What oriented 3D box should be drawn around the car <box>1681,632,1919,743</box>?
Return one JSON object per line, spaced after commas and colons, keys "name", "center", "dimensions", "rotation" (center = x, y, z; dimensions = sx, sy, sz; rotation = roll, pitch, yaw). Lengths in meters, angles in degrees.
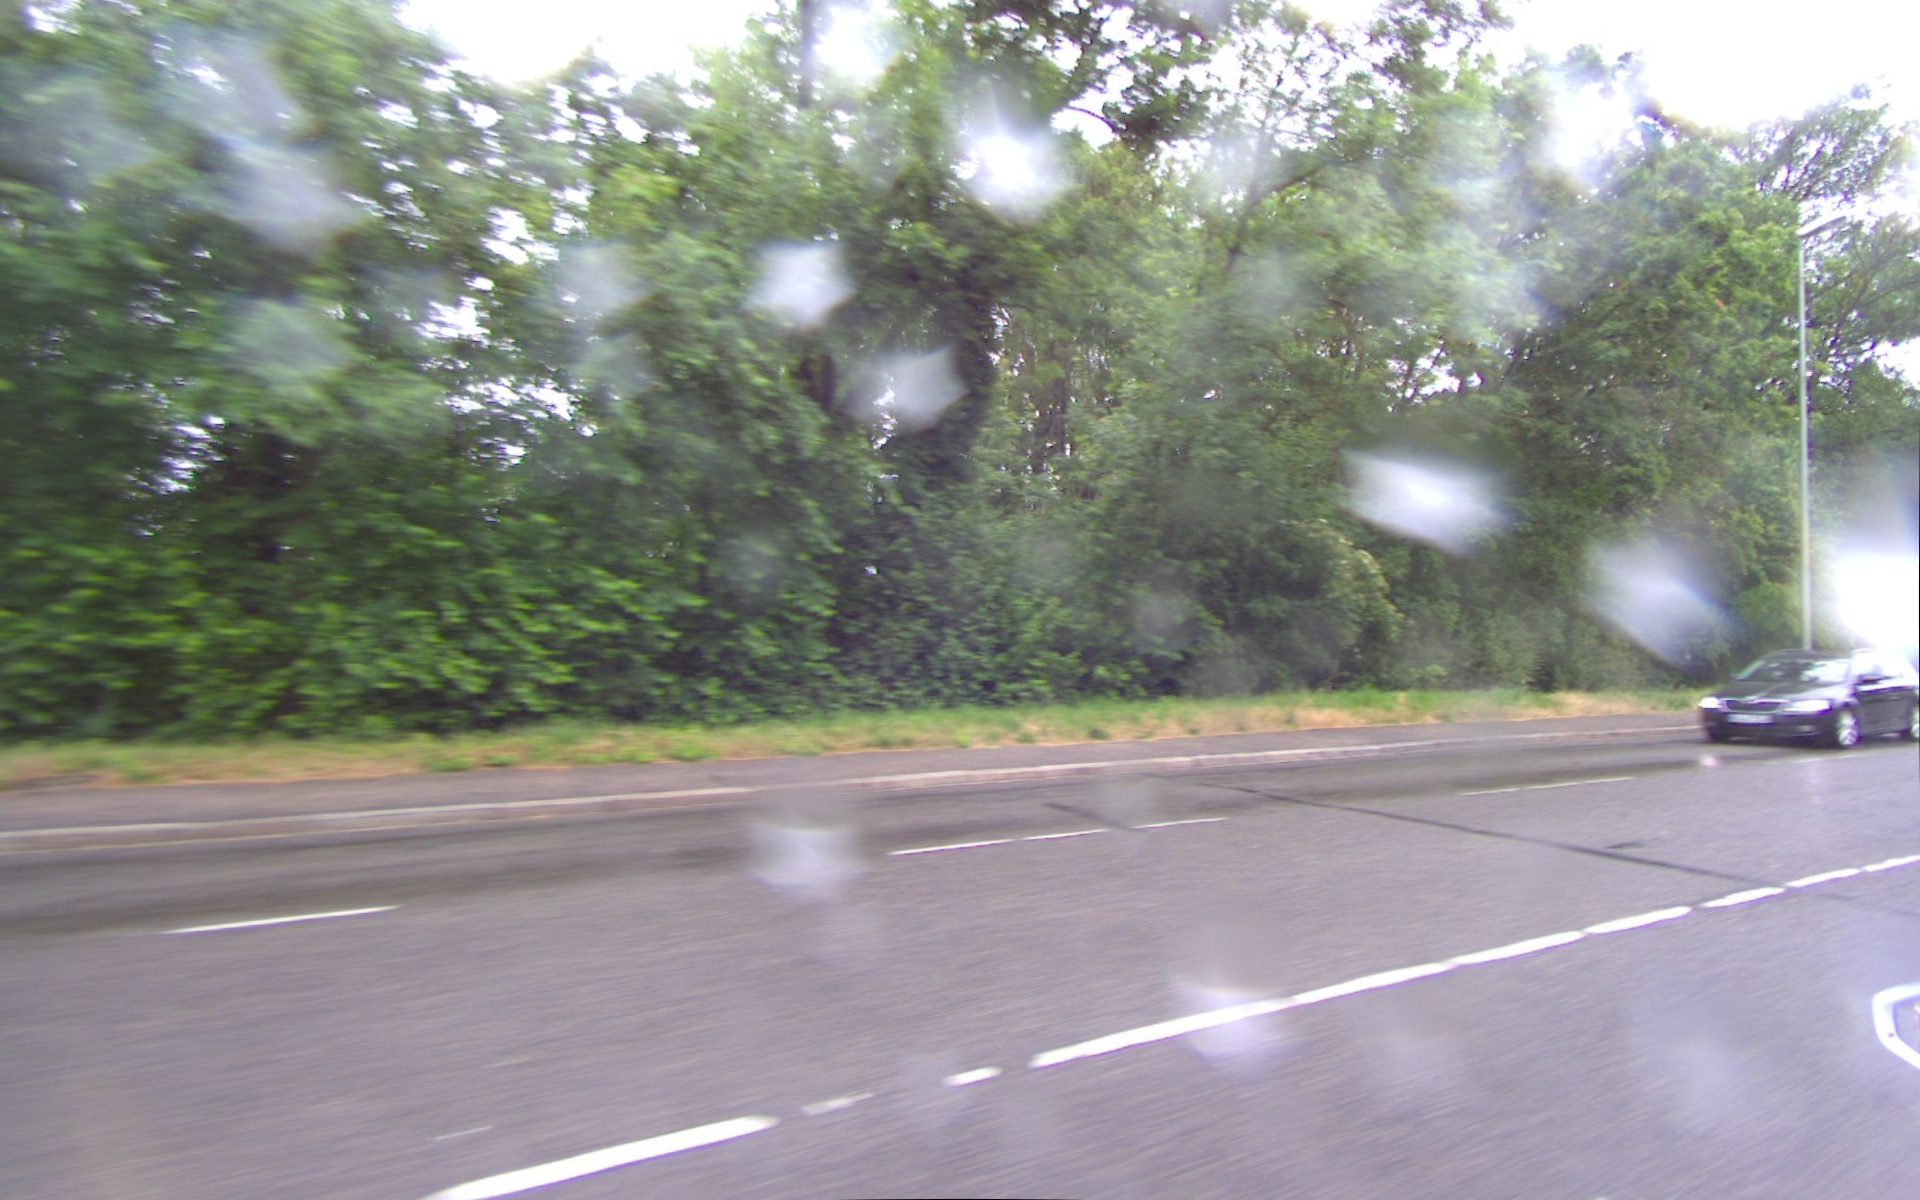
{"name": "car", "center": [13.360, 1.289, 15.836], "dimensions": [3.952, 1.553, 1.762], "rotation": [1, -2, -30]}
